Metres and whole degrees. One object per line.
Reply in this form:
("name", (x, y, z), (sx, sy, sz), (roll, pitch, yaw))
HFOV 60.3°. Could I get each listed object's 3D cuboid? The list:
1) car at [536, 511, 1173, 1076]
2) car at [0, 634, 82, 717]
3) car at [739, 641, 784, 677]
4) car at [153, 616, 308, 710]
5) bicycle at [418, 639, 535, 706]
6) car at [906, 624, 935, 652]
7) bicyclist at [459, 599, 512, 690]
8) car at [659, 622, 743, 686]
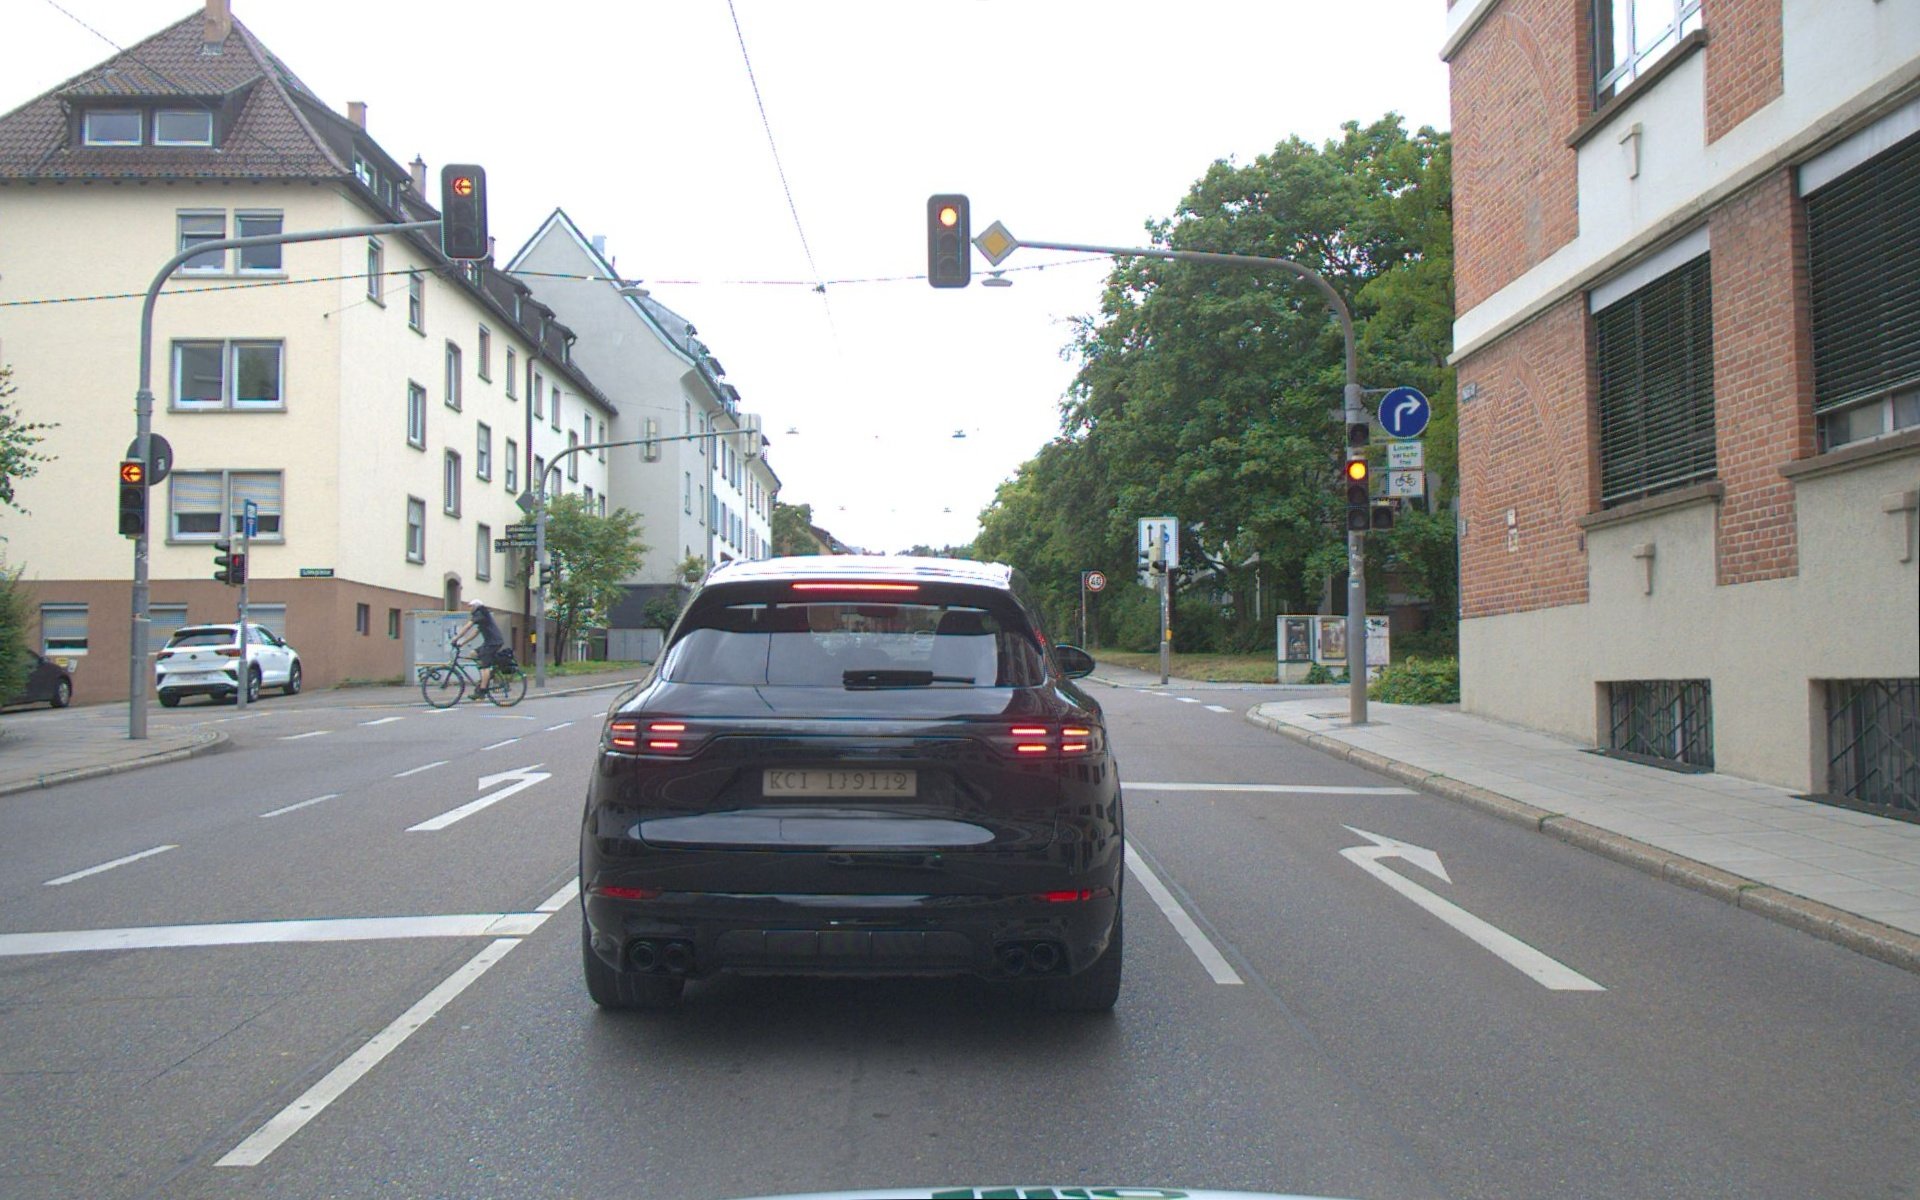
("car", (-0.351, 0.613, 7.144), (1.953, 1.726, 3.999), (1, 0, -1))
("car", (-19.701, 1.552, 33.502), (1.636, 1.573, 4.100), (-3, 0, -1))
("car", (-8.323, 2.451, 69.463), (1.637, 1.386, 3.997), (0, 0, -4))
("car", (-14.786, 1.233, 33.732), (1.638, 1.691, 3.995), (-3, 0, -5))
("bicycle", (-8.321, 1.249, 28.527), (1.872, 1.100, 0.701), (1, 0, -12))
("car", (-2.449, 2.321, 101.177), (1.654, 1.579, 3.887), (1, 0, -2))
("bicyclist", (-8.191, 0.760, 28.557), (0.795, 1.546, 0.704), (1, -1, -12))
("car", (-7.067, 1.439, 45.436), (1.630, 1.545, 3.739), (-4, 0, 0))
